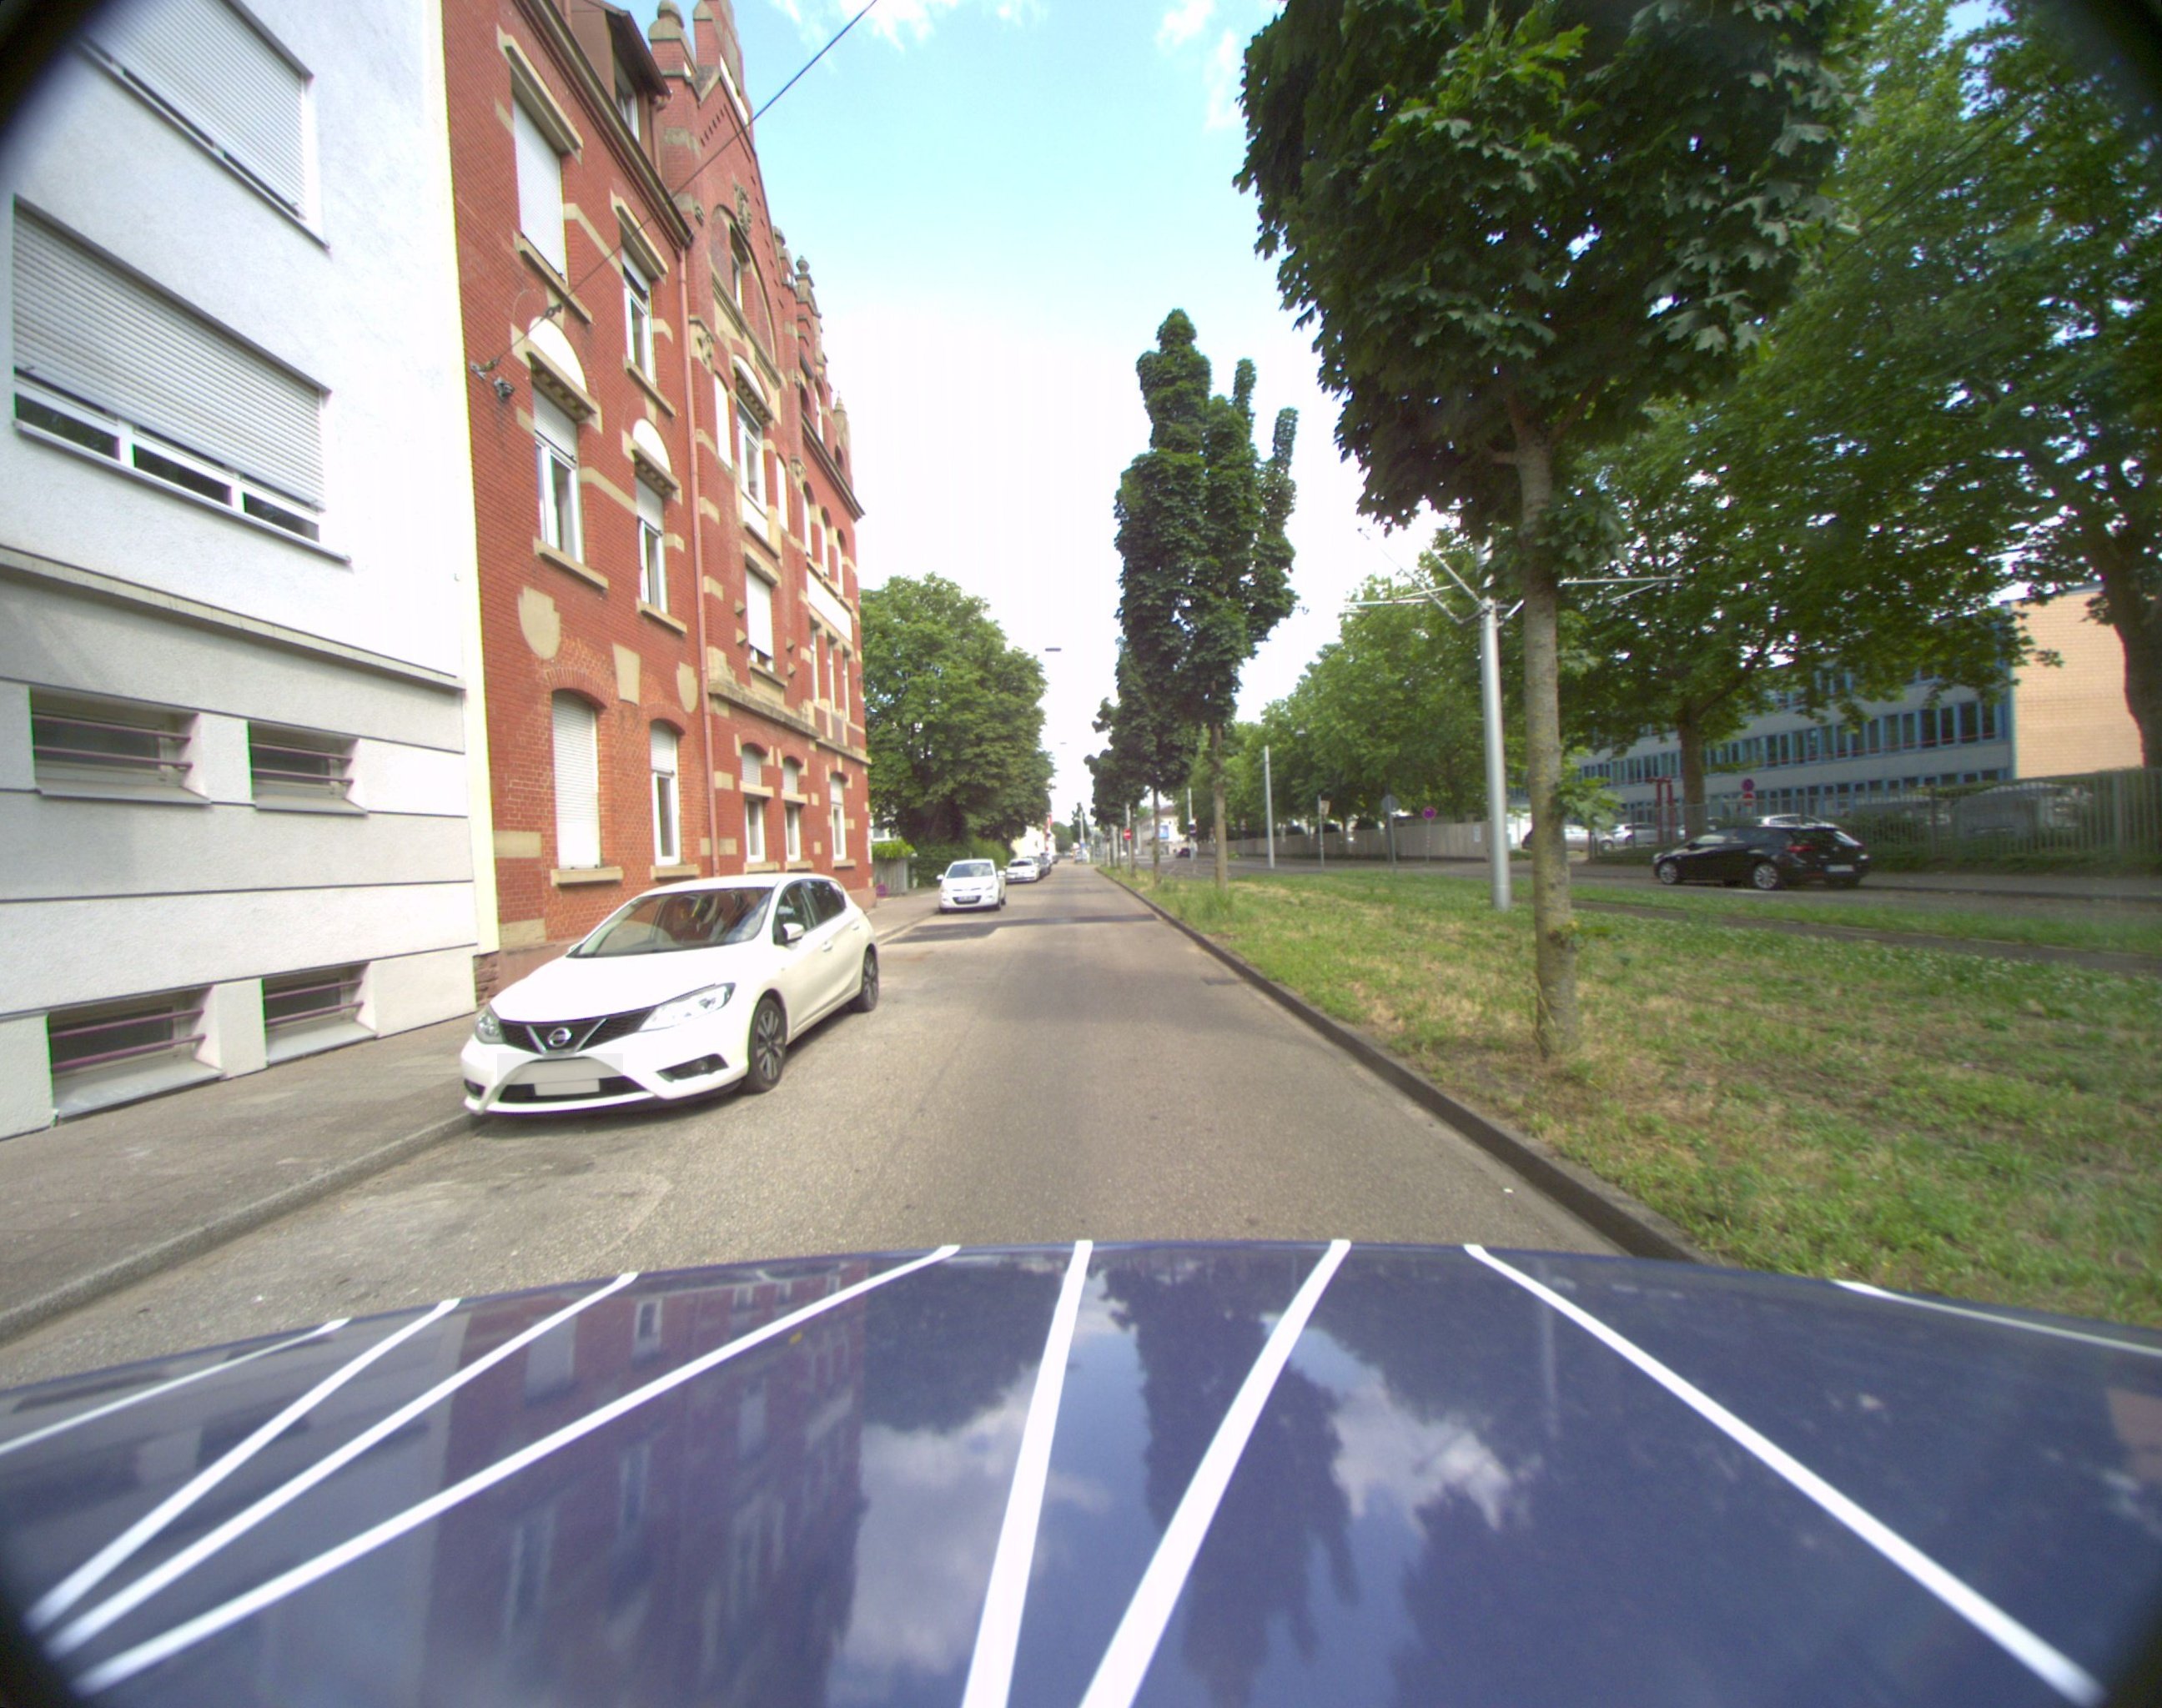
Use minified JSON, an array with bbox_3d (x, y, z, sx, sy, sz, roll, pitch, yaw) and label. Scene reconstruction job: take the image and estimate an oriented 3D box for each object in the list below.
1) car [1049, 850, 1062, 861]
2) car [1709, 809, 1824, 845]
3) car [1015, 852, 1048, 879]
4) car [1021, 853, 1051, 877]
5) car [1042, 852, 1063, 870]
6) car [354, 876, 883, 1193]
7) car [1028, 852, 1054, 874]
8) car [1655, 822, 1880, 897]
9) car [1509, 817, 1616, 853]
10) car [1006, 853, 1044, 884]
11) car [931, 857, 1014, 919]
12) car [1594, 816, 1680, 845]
[{"bbox_3d":[-3.960,0.256,119.167,1.801,1.521,4.040,-5,1,0],"label":"car"},{"bbox_3d":[34.500,-1.338,38.322,3.997,1.609,1.999,-2,1,-2],"label":"car"},{"bbox_3d":[-3.225,0.746,50.335,1.801,1.521,4.040,-5,1,0],"label":"car"},{"bbox_3d":[-3.267,0.772,55.795,1.801,1.521,4.040,-5,1,0],"label":"car"},{"bbox_3d":[-2.812,0.690,76.268,1.801,1.521,4.040,-5,1,0],"label":"car"},{"bbox_3d":[-3.095,1.061,6.250,1.801,1.521,4.040,-4,0,0],"label":"car"},{"bbox_3d":[-3.204,0.709,61.208,1.801,1.521,4.040,-5,1,0],"label":"car"},{"bbox_3d":[15.512,0.101,17.506,1.601,1.455,4.000,-3,1,1],"label":"car"},{"bbox_3d":[23.771,-0.918,37.603,3.997,1.609,1.999,-2,1,-2],"label":"car"},{"bbox_3d":[-3.200,0.815,44.081,1.801,1.521,4.040,-5,1,0],"label":"car"},{"bbox_3d":[-3.121,0.932,22.632,1.801,1.521,4.040,-4,1,0],"label":"car"},{"bbox_3d":[35.309,-1.481,48.311,3.997,1.609,1.999,-2,1,-2],"label":"car"}]
